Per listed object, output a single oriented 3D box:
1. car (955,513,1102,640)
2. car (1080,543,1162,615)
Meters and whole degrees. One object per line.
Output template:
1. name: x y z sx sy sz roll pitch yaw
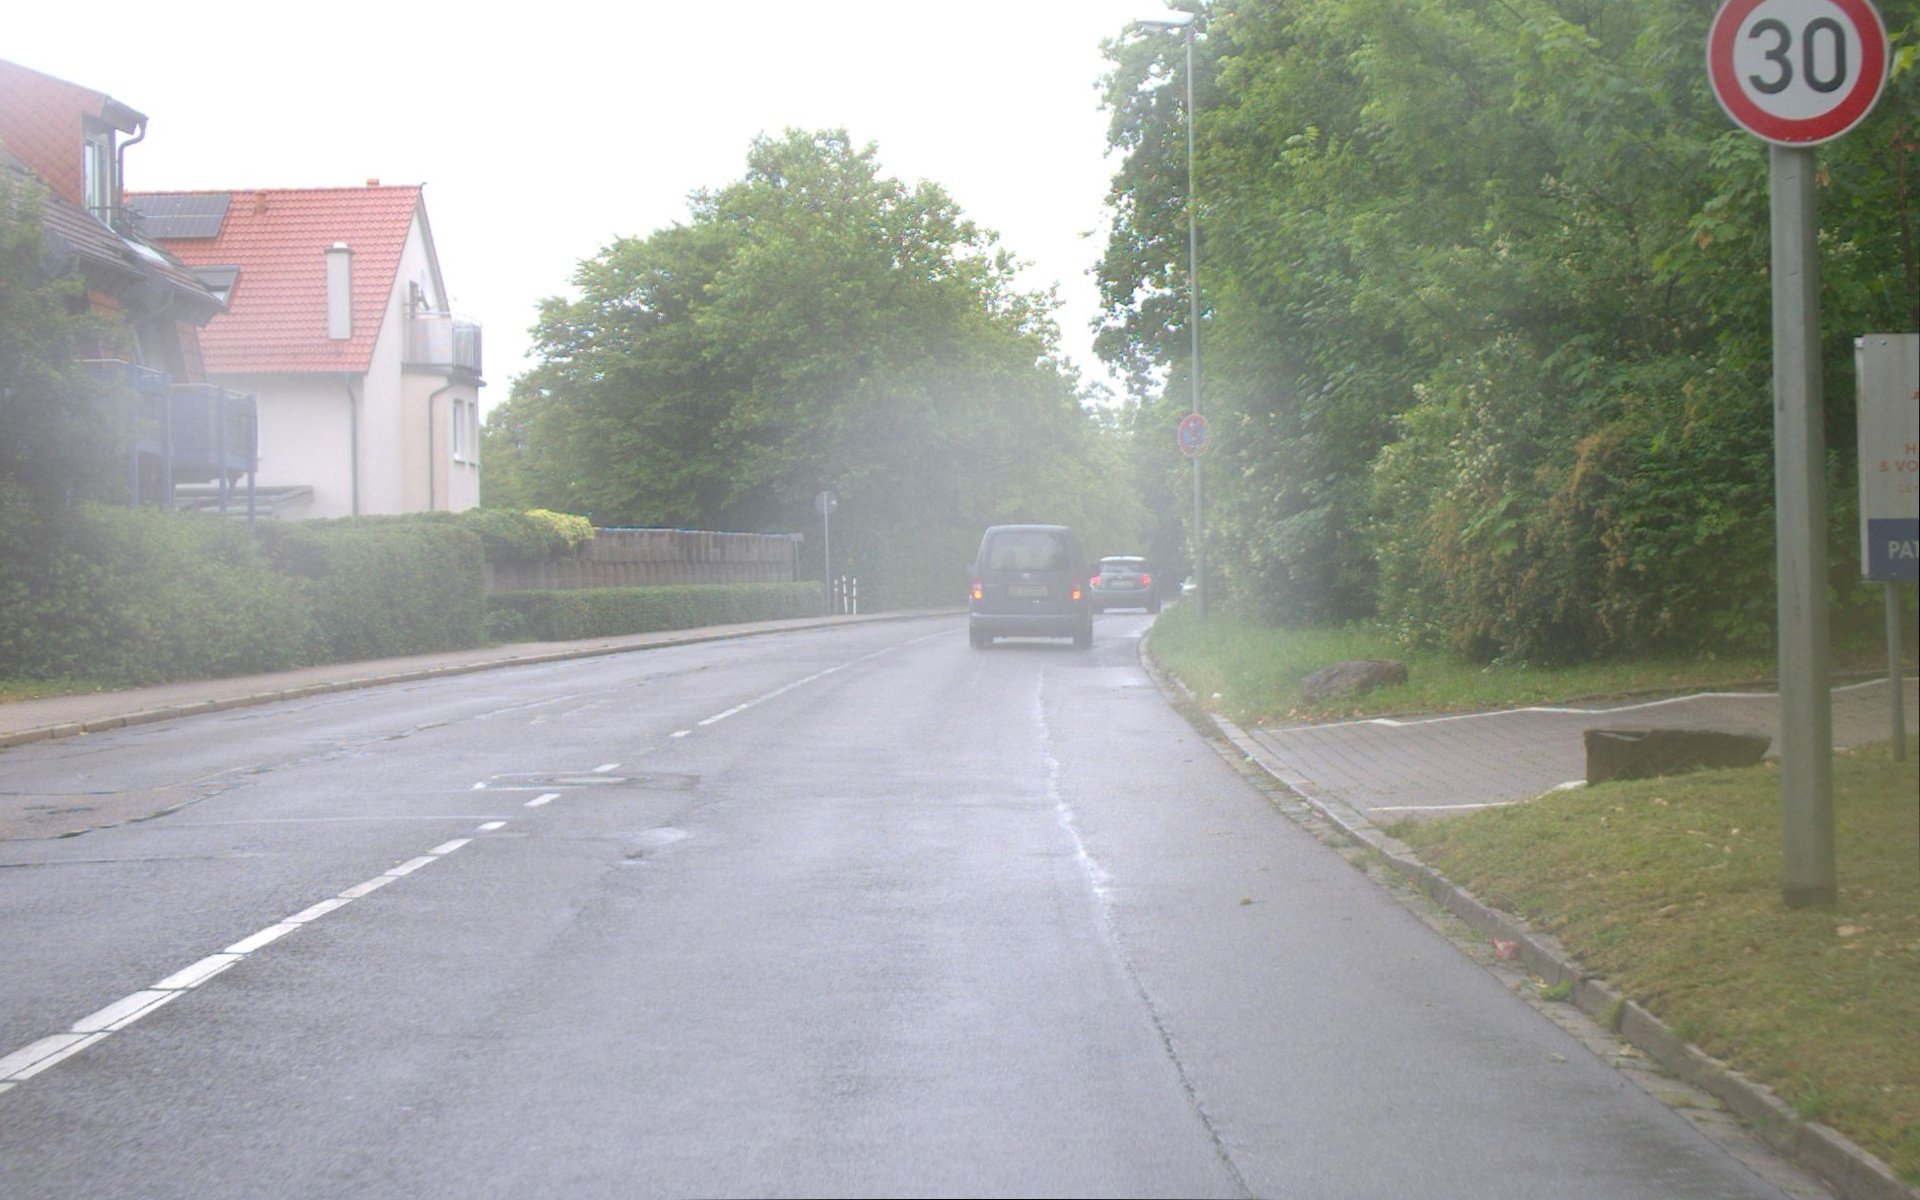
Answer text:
1. car: 0.984 -0.391 51.615 1.993 1.787 4.000 1 1 -1
2. car: 4.137 -0.553 87.966 1.950 1.744 4.000 -1 1 4
